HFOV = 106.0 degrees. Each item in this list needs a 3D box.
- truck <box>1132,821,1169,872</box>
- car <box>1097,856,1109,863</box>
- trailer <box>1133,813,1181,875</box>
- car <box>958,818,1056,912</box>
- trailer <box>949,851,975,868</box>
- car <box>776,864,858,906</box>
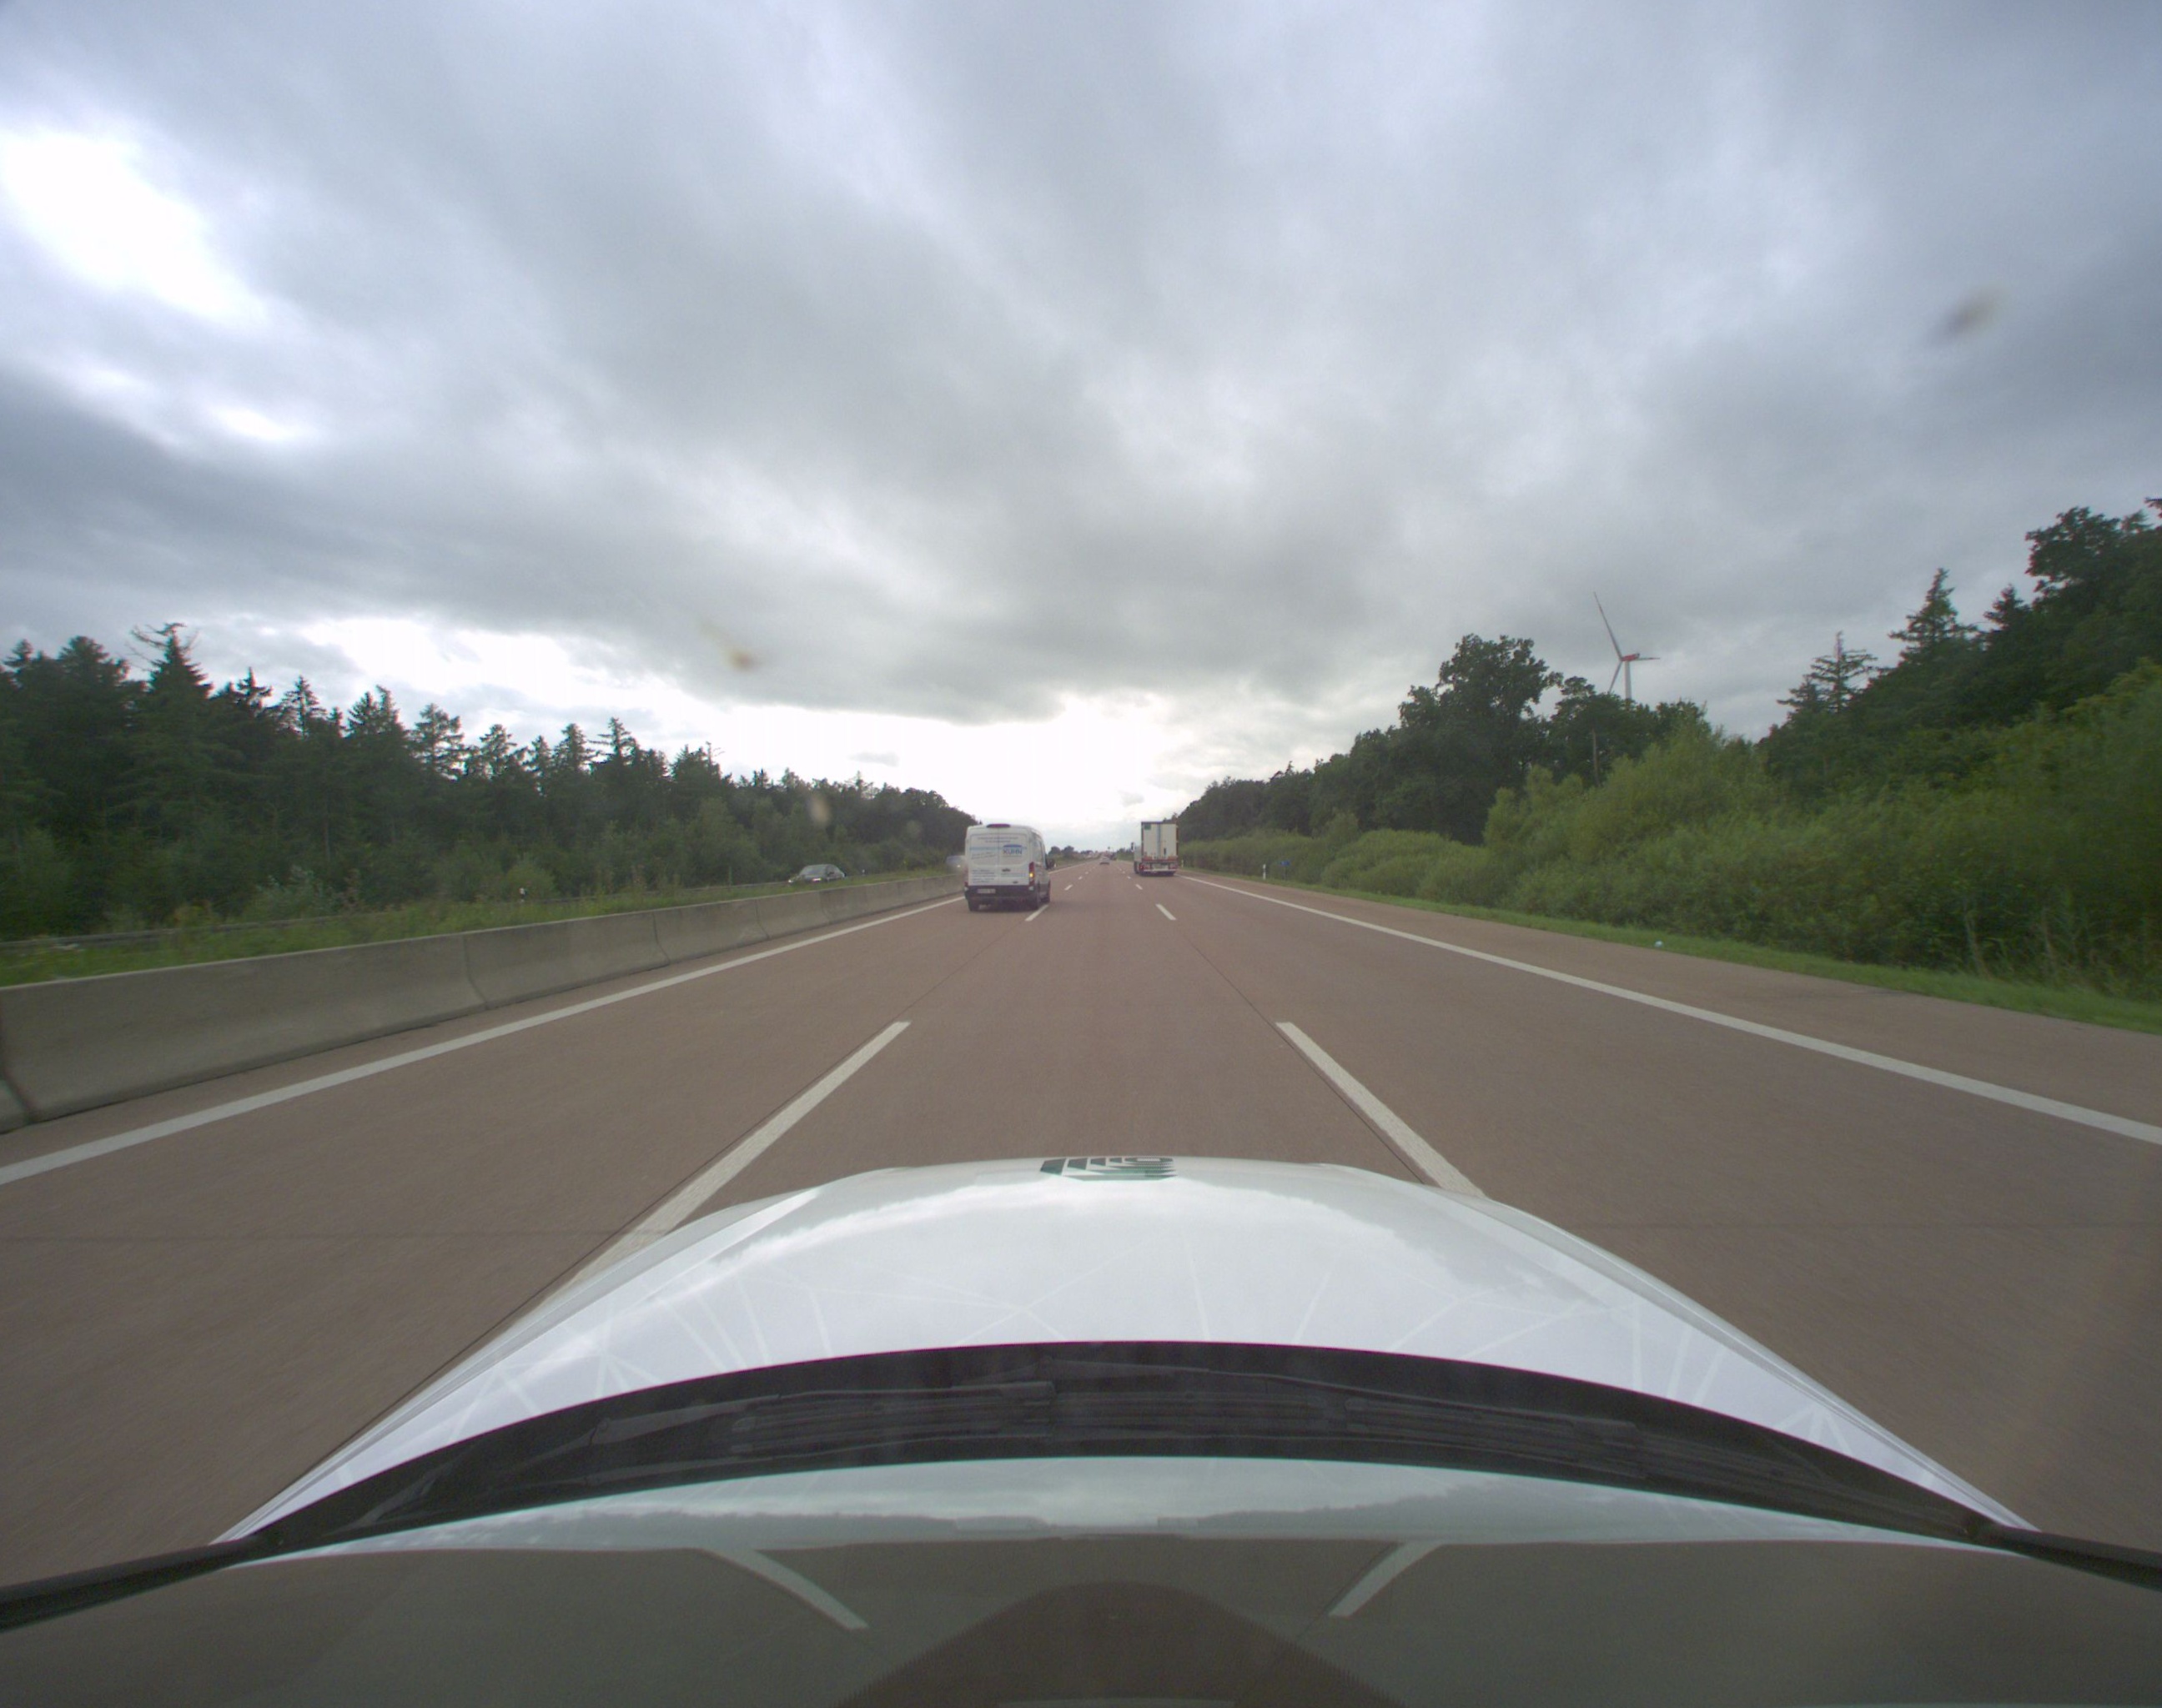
[{"bbox_3d":[6.018,-0.654,71.652,2.910,4.294,5.337,-1,0,2],"label":"truck"},{"bbox_3d":[4.354,1.070,161.457,2.154,1.451,4.723,0,0,3],"label":"car"},{"bbox_3d":[5.764,-0.658,64.098,2.910,4.294,13.619,-1,0,2],"label":"trailer"},{"bbox_3d":[-2.115,0.293,25.683,2.129,2.507,7.135,-1,0,2],"label":"car"},{"bbox_3d":[-16.034,0.742,109.939,2.323,2.161,6.191,-1,0,2],"label":"trailer"},{"bbox_3d":[-14.159,1.588,44.050,2.338,2.030,5.857,-1,0,2],"label":"car"}]
